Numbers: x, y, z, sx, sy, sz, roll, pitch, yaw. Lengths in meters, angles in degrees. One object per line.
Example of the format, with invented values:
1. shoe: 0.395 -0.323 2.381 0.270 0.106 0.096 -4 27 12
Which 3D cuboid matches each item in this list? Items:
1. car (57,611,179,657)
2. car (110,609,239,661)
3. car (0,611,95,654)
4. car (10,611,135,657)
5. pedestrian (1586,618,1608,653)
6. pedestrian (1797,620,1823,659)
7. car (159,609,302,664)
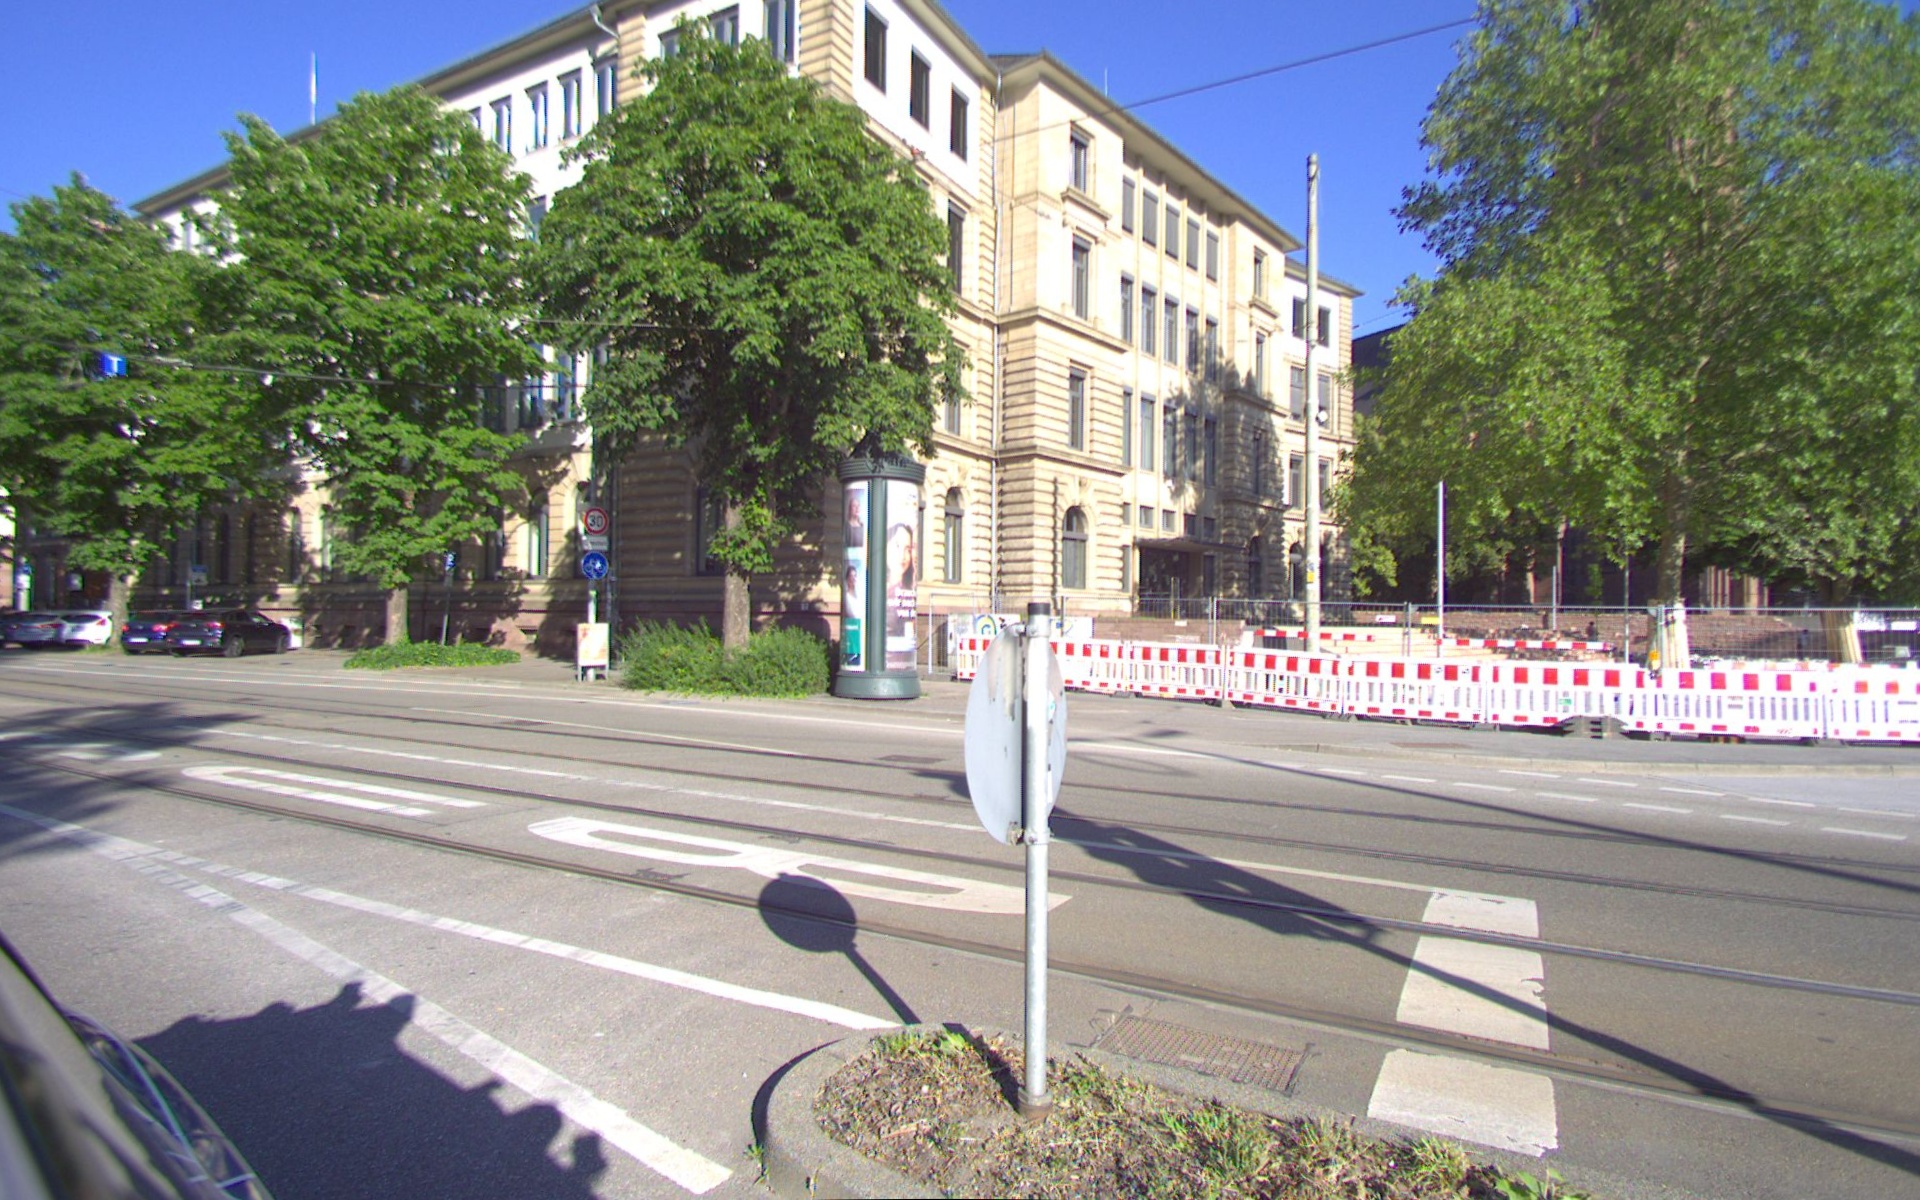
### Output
1. car: -31.022 1.220 37.422 1.626 1.572 3.652 -1 0 -3
2. car: -26.350 1.134 34.107 1.626 1.572 3.652 -1 0 -3
3. car: -36.352 1.243 39.839 1.626 1.572 3.652 -1 0 -3
4. car: -33.335 1.231 38.132 1.626 1.572 3.652 -1 0 -3
5. pedestrian: 30.196 1.676 47.960 0.627 1.660 0.677 1 -1 -37
6. pedestrian: 36.748 1.694 43.752 0.666 1.660 0.762 1 -2 -45
7. car: -23.720 1.132 33.106 1.819 1.643 4.184 -1 0 -3
